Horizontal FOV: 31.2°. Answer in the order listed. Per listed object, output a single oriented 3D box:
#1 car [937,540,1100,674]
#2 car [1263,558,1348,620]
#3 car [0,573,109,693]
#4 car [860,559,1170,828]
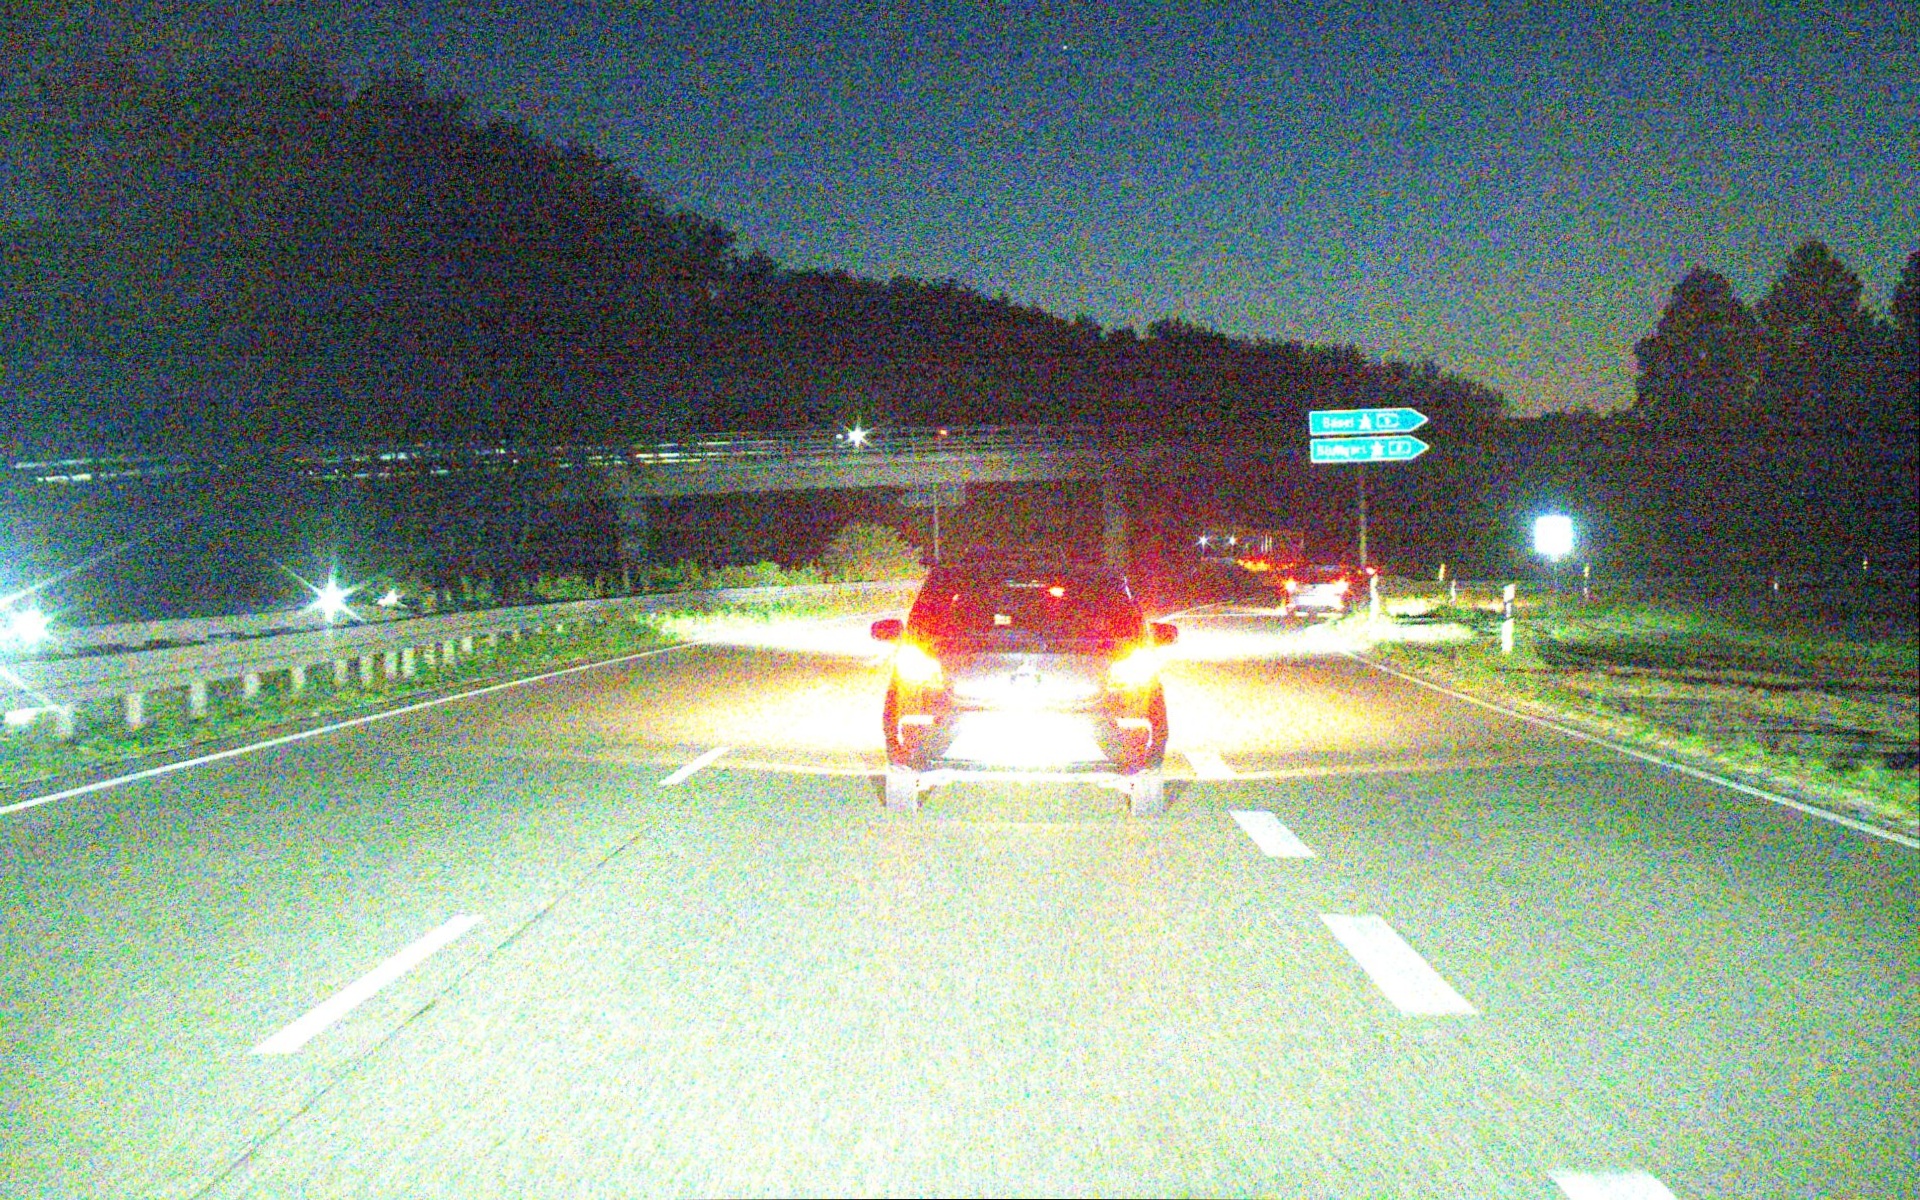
[{"bbox_3d":[0.695,0.043,43.808,1.940,1.603,4.644,0,1,-1],"label":"car"},{"bbox_3d":[9.114,-0.306,90.880,1.733,1.612,3.799,0,1,-2],"label":"car"},{"bbox_3d":[-14.166,0.457,50.900,1.993,1.678,4.000,0,1,2],"label":"car"},{"bbox_3d":[0.294,0.491,20.897,1.691,1.473,4.000,0,1,0],"label":"car"}]
